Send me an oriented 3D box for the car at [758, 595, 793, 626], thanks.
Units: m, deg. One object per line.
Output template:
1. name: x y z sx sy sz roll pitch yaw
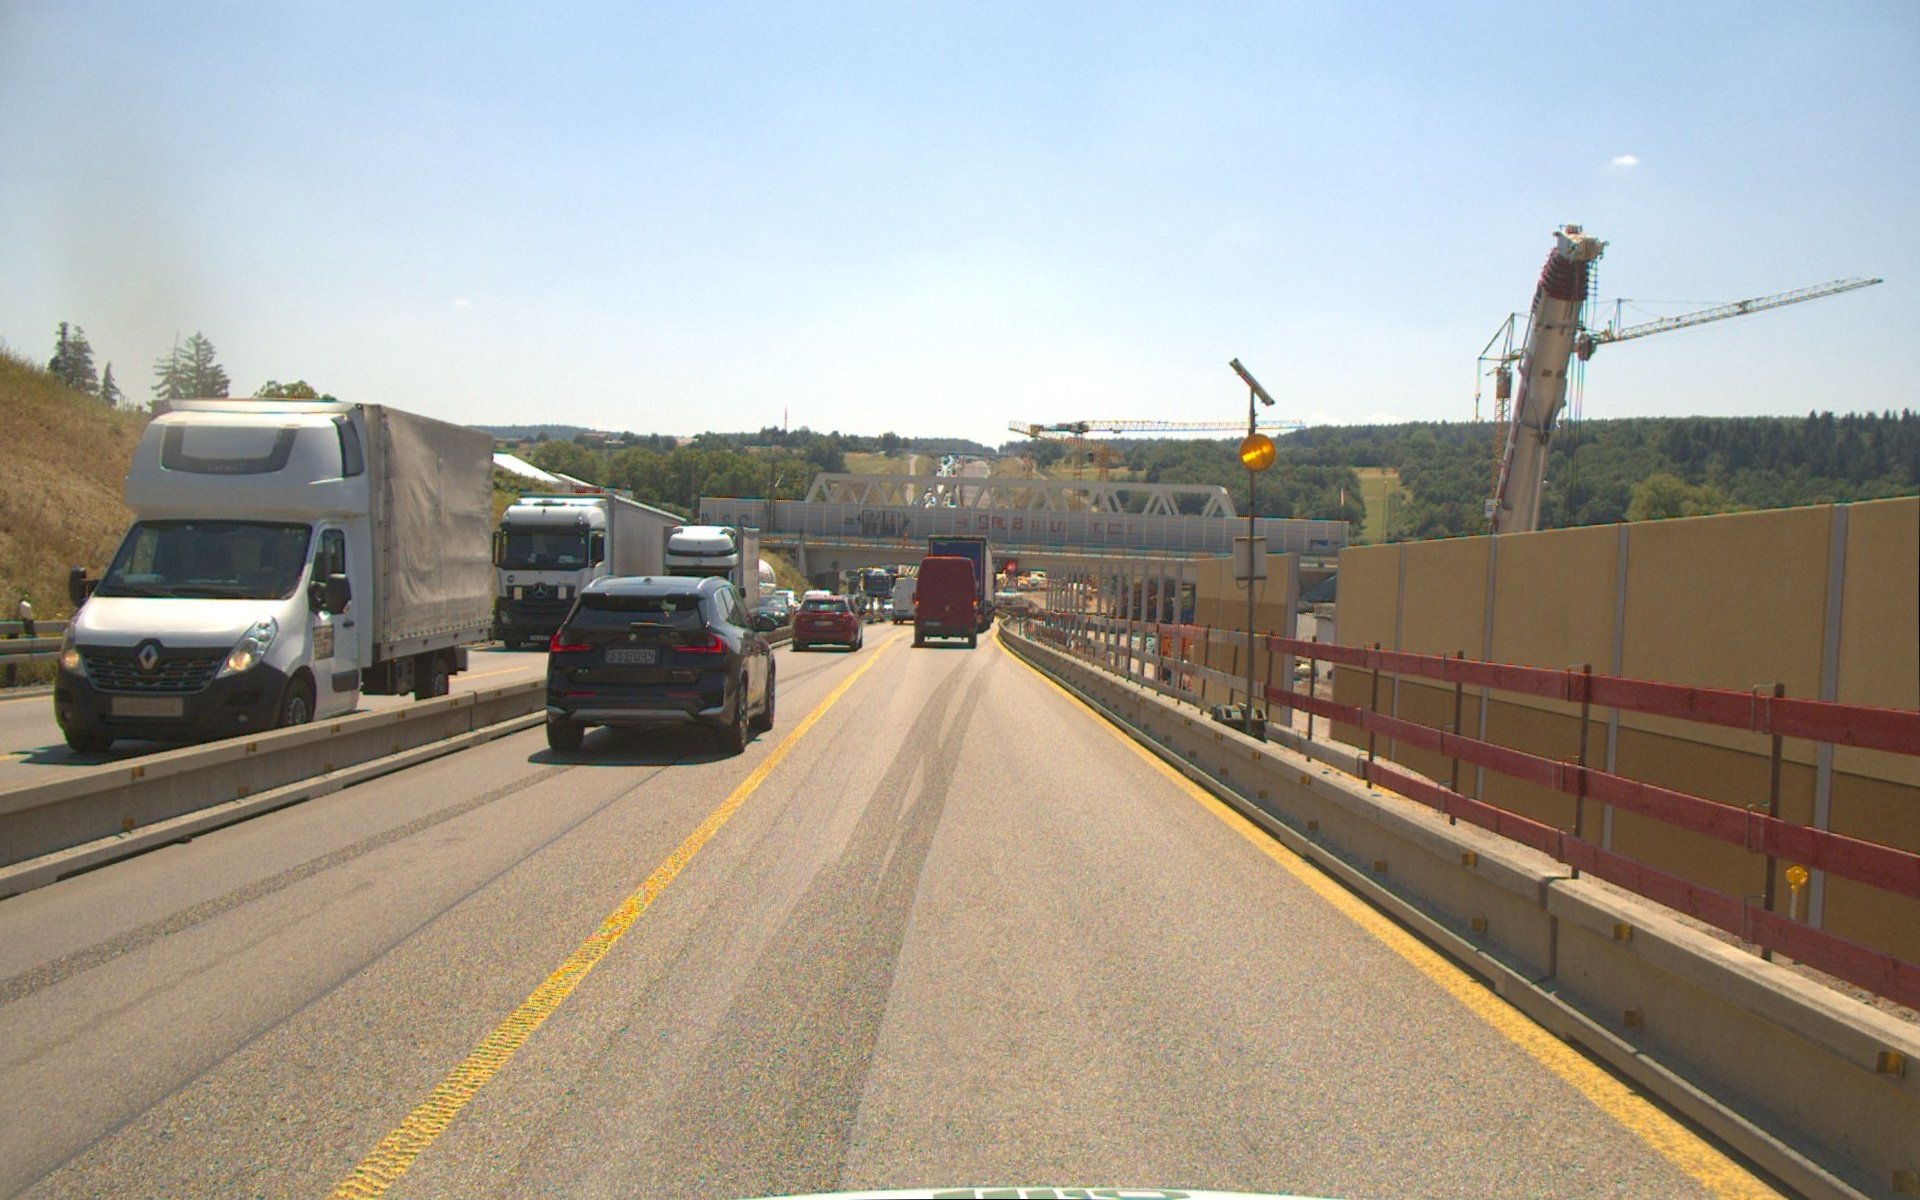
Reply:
1. car: -11.191 0.630 100.616 1.754 1.793 4.536 1 0 -2

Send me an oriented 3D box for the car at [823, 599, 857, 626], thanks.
1. car: -7.608 0.770 105.059 1.754 1.639 4.733 1 0 0

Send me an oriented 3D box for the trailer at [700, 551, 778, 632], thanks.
1. trailer: -11.347 -0.457 86.088 2.537 3.868 11.915 1 0 -1

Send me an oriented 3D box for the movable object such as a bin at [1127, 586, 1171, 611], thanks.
1. movable object such as a bin: 22.056 -0.182 193.199 5.038 2.856 2.144 1 0 5

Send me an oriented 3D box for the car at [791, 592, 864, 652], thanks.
1. car: -3.598 0.576 45.396 1.740 1.544 4.205 1 0 -1

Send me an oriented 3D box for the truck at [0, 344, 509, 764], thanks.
1. truck: -6.884 -0.394 17.276 2.487 3.433 7.036 1 0 -1

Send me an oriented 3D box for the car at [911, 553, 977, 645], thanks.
1. car: -0.519 -0.044 51.528 1.948 2.737 4.622 1 0 -1

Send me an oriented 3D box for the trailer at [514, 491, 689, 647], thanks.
1. trailer: -10.687 -0.869 51.016 2.643 4.095 13.699 1 0 -1

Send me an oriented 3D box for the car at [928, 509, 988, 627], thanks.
1. car: -0.180 -1.426 77.147 2.568 5.120 10.394 1 0 -1

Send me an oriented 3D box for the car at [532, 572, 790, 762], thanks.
1. car: -2.843 0.570 16.705 1.841 1.646 4.498 1 0 -1

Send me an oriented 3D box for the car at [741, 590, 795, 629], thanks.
1. car: -7.829 0.367 67.623 1.743 1.483 4.718 2 0 -2

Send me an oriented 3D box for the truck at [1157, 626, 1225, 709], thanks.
1. truck: 11.871 3.414 85.466 2.702 3.954 5.882 1 0 1

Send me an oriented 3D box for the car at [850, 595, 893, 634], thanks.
1. car: -3.963 0.630 74.646 1.802 1.683 4.164 0 1 -2

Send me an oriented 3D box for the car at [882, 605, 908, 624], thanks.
1. car: -5.322 1.207 135.809 1.763 1.472 4.637 1 0 1

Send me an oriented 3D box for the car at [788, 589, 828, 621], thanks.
1. car: -8.531 0.263 93.151 1.841 1.775 4.482 0 0 0

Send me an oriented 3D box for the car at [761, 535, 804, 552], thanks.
1. car: -20.061 -6.415 187.020 4.456 1.814 1.962 1 0 13

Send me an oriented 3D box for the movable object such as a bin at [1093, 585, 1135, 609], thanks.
1. movable object such as a bin: 19.105 -0.350 205.440 5.038 2.856 2.144 1 0 5

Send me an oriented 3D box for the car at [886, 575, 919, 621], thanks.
1. car: -3.222 -0.128 92.706 1.740 2.484 4.205 1 0 -1

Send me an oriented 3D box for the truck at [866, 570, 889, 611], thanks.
1. truck: -8.511 -0.978 170.868 2.310 4.085 3.998 1 0 -2

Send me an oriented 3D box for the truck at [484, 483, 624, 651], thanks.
1. truck: -10.494 -0.836 43.111 2.643 4.120 3.954 1 0 -1

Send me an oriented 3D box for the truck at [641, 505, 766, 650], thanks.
1. truck: -7.276 -0.620 47.889 2.537 3.824 7.356 1 0 -1

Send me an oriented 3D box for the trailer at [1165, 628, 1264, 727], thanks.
1. trailer: 11.804 3.449 77.992 2.702 3.954 13.050 1 0 1
